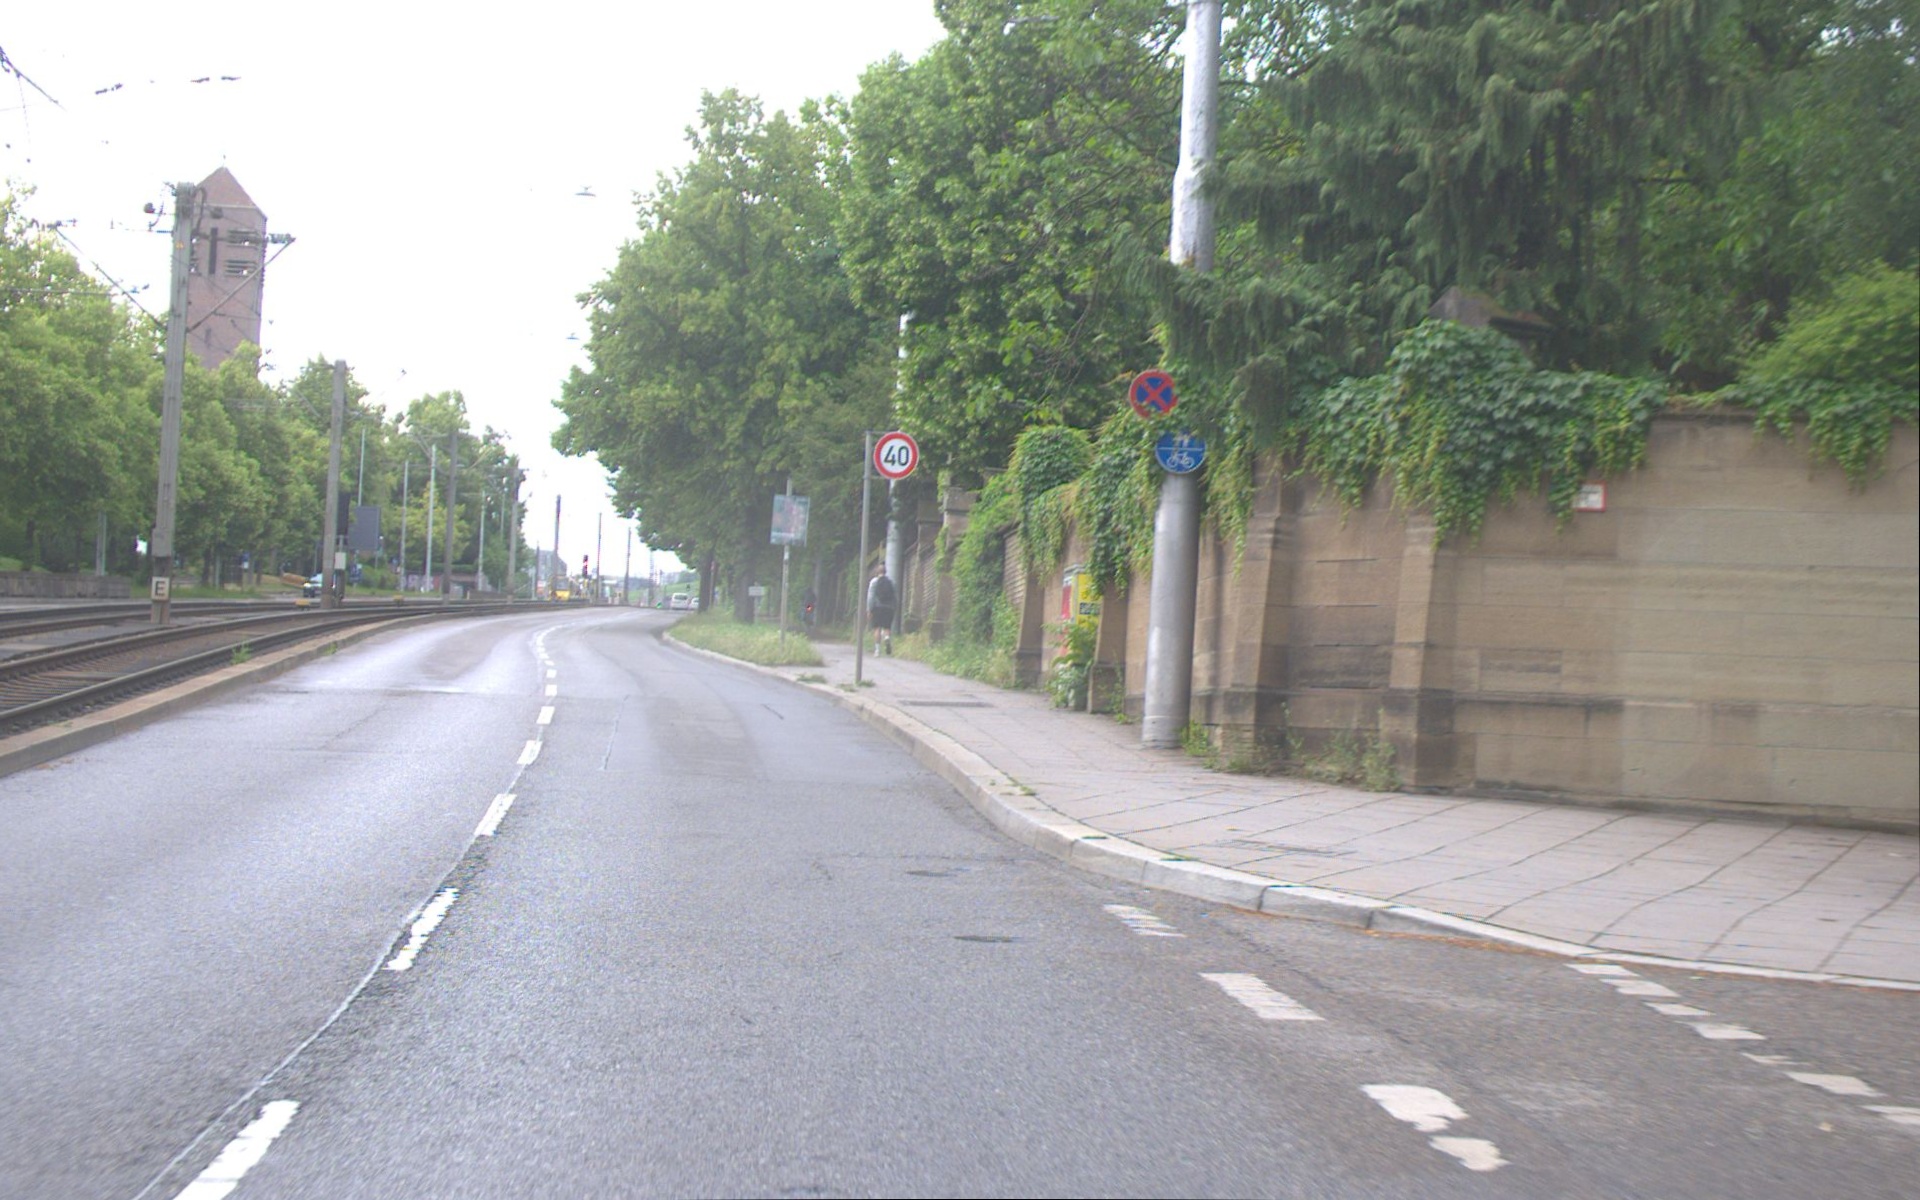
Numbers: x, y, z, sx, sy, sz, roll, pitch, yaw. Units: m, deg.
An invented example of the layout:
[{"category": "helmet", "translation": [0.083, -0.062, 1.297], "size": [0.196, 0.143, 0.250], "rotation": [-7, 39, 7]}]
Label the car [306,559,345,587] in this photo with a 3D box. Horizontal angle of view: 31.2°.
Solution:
[{"category": "car", "translation": [-36.558, -1.568, 198.212], "size": [1.794, 1.505, 3.849], "rotation": [3, 0, -5]}]

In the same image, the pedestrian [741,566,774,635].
[{"category": "pedestrian", "translation": [-5.077, 0.006, 86.202], "size": [0.719, 1.681, 0.729], "rotation": [4, -1, -5]}]

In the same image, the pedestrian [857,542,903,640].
[{"category": "pedestrian", "translation": [-1.554, -0.173, 66.593], "size": [0.719, 1.843, 0.783], "rotation": [4, -1, -5]}]
